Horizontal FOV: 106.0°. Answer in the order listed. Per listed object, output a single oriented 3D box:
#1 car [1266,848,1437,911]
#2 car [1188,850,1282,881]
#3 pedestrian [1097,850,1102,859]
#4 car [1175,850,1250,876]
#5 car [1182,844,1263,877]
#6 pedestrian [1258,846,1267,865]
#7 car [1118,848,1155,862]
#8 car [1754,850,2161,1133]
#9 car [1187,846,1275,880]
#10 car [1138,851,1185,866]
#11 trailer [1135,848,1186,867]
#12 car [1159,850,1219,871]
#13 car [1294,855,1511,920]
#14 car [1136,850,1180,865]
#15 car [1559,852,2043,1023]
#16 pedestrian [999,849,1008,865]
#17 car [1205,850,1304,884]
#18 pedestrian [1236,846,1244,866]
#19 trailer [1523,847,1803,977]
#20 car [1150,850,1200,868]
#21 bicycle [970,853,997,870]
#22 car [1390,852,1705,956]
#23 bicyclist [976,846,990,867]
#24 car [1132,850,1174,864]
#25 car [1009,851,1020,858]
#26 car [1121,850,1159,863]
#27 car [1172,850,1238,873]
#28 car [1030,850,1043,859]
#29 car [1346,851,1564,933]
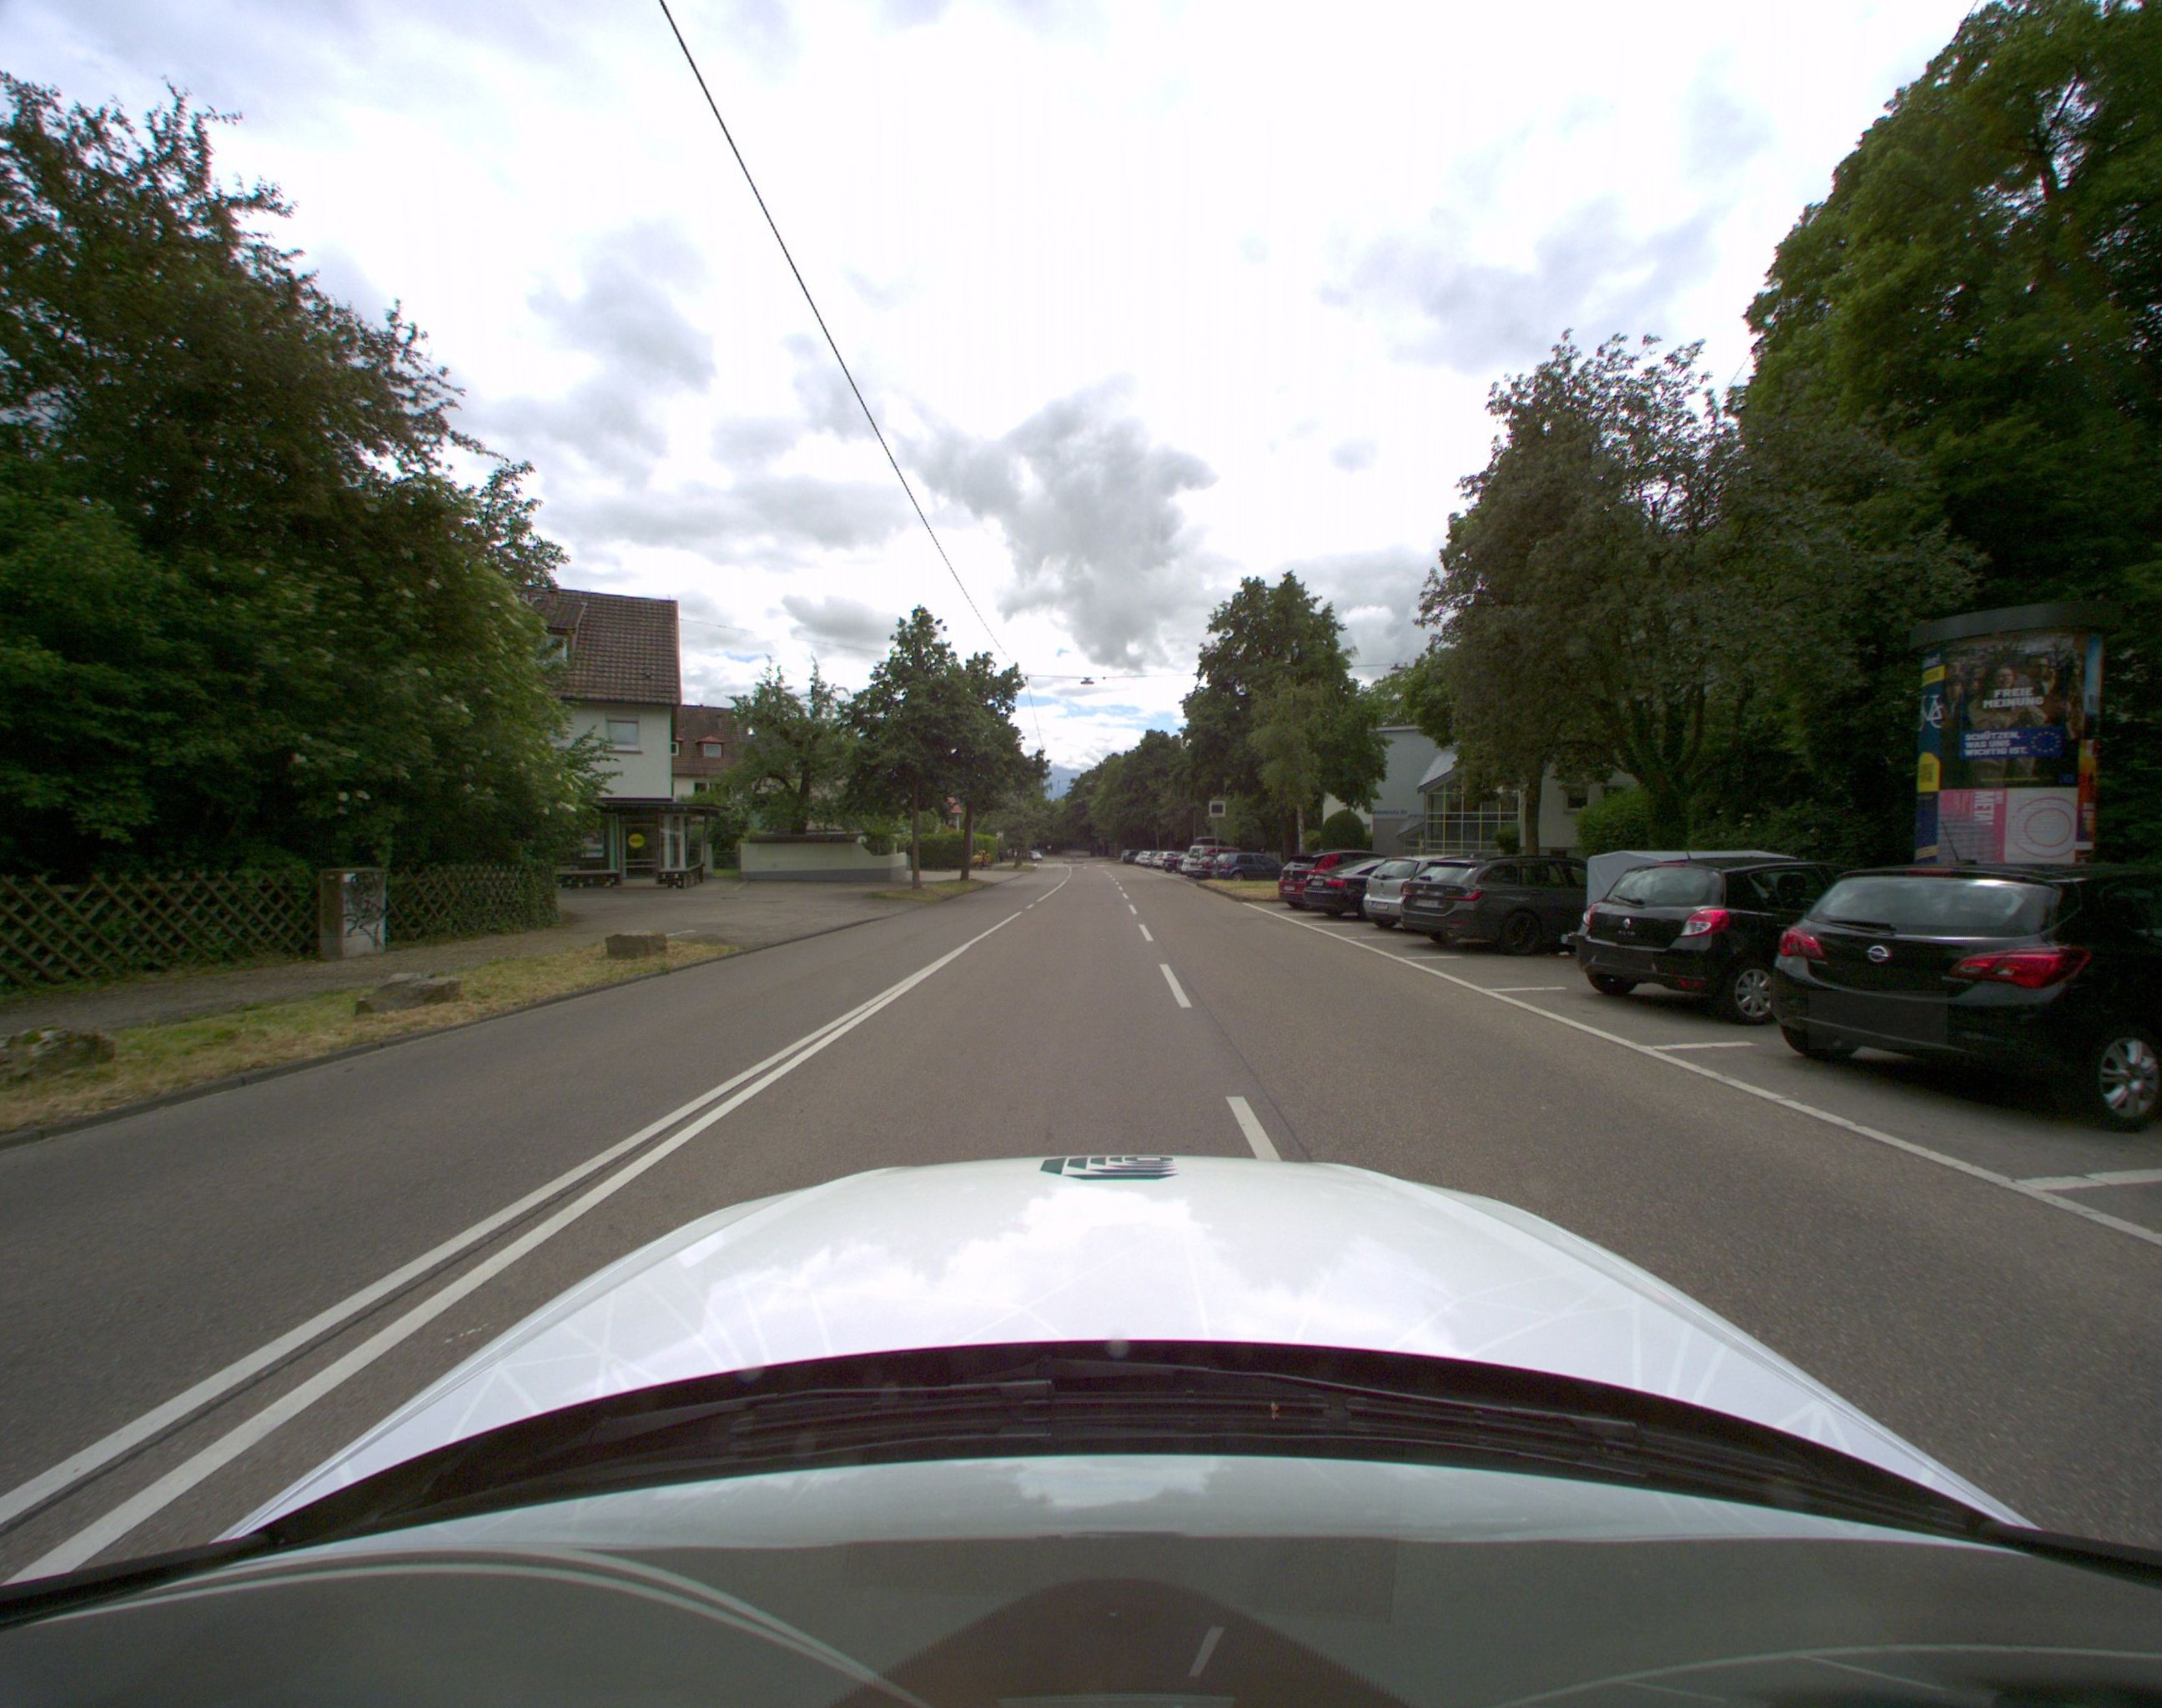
[{"bbox_3d":[7.026,0.595,21.162,4.086,1.515,1.722,0,0,-21],"label":"car"},{"bbox_3d":[7.307,0.538,38.734,4.037,1.405,1.747,1,0,-17],"label":"car"},{"bbox_3d":[3.474,0.132,150.159,0.736,1.570,0.654,-1,0,12],"label":"pedestrian"},{"bbox_3d":[7.766,0.507,48.103,3.972,1.449,1.909,1,0,-14],"label":"car"},{"bbox_3d":[7.754,0.354,44.568,4.106,1.754,1.772,1,0,-26],"label":"car"},{"bbox_3d":[15.033,0.114,67.360,0.646,1.603,0.745,-1,0,7],"label":"pedestrian"},{"bbox_3d":[6.482,0.095,95.321,3.895,1.668,1.733,0,0,-19],"label":"car"},{"bbox_3d":[6.944,0.737,5.571,3.916,1.486,1.610,0,0,-14],"label":"car"},{"bbox_3d":[7.643,0.454,41.642,4.003,1.620,1.875,1,0,-15],"label":"car"},{"bbox_3d":[7.342,0.428,74.043,3.901,1.309,1.730,0,0,-23],"label":"car"},{"bbox_3d":[6.966,0.328,71.468,4.165,1.573,1.702,1,0,-18],"label":"trailer"},{"bbox_3d":[7.686,0.443,58.124,3.900,1.449,1.830,0,0,-22],"label":"car"},{"bbox_3d":[7.163,0.705,18.254,4.316,1.341,1.726,0,0,-13],"label":"car"},{"bbox_3d":[7.545,0.371,79.937,3.895,1.429,1.733,0,0,-19],"label":"car"},{"bbox_3d":[7.063,0.730,8.141,3.841,1.455,1.628,0,0,-11],"label":"car"},{"bbox_3d":[-8.607,0.369,90.353,0.972,1.730,0.848,-1,0,-3],"label":"pedestrian"},{"bbox_3d":[7.697,0.564,36.201,3.969,1.405,1.749,1,0,-14],"label":"car"},{"bbox_3d":[13.308,0.157,68.156,0.646,1.671,0.745,-1,0,7],"label":"pedestrian"},{"bbox_3d":[7.561,0.700,10.661,2.988,1.542,1.298,0,1,-12],"label":"trailer"},{"bbox_3d":[8.005,0.413,69.276,3.897,1.449,1.732,0,0,-20],"label":"car"},{"bbox_3d":[-7.714,0.595,64.569,0.837,1.266,2.668,1,1,27],"label":"bicycle"},{"bbox_3d":[7.232,0.712,12.729,4.348,1.445,1.627,0,1,-13],"label":"car"},{"bbox_3d":[-7.727,0.198,64.528,0.837,1.697,0.718,1,1,26],"label":"bicyclist"},{"bbox_3d":[7.323,0.306,82.517,3.895,1.429,1.733,0,0,-19],"label":"car"},{"bbox_3d":[-13.304,0.092,163.069,1.868,1.471,3.984,-1,0,-12],"label":"car"},{"bbox_3d":[6.708,0.253,92.529,3.895,1.429,1.733,0,0,-19],"label":"car"},{"bbox_3d":[8.073,0.490,53.128,3.896,1.449,1.833,1,0,-19],"label":"car"},{"bbox_3d":[-7.363,0.120,134.733,1.864,1.471,3.992,-1,0,-5],"label":"car"},{"bbox_3d":[7.184,0.692,15.745,3.615,1.445,1.626,0,0,-14],"label":"car"}]
